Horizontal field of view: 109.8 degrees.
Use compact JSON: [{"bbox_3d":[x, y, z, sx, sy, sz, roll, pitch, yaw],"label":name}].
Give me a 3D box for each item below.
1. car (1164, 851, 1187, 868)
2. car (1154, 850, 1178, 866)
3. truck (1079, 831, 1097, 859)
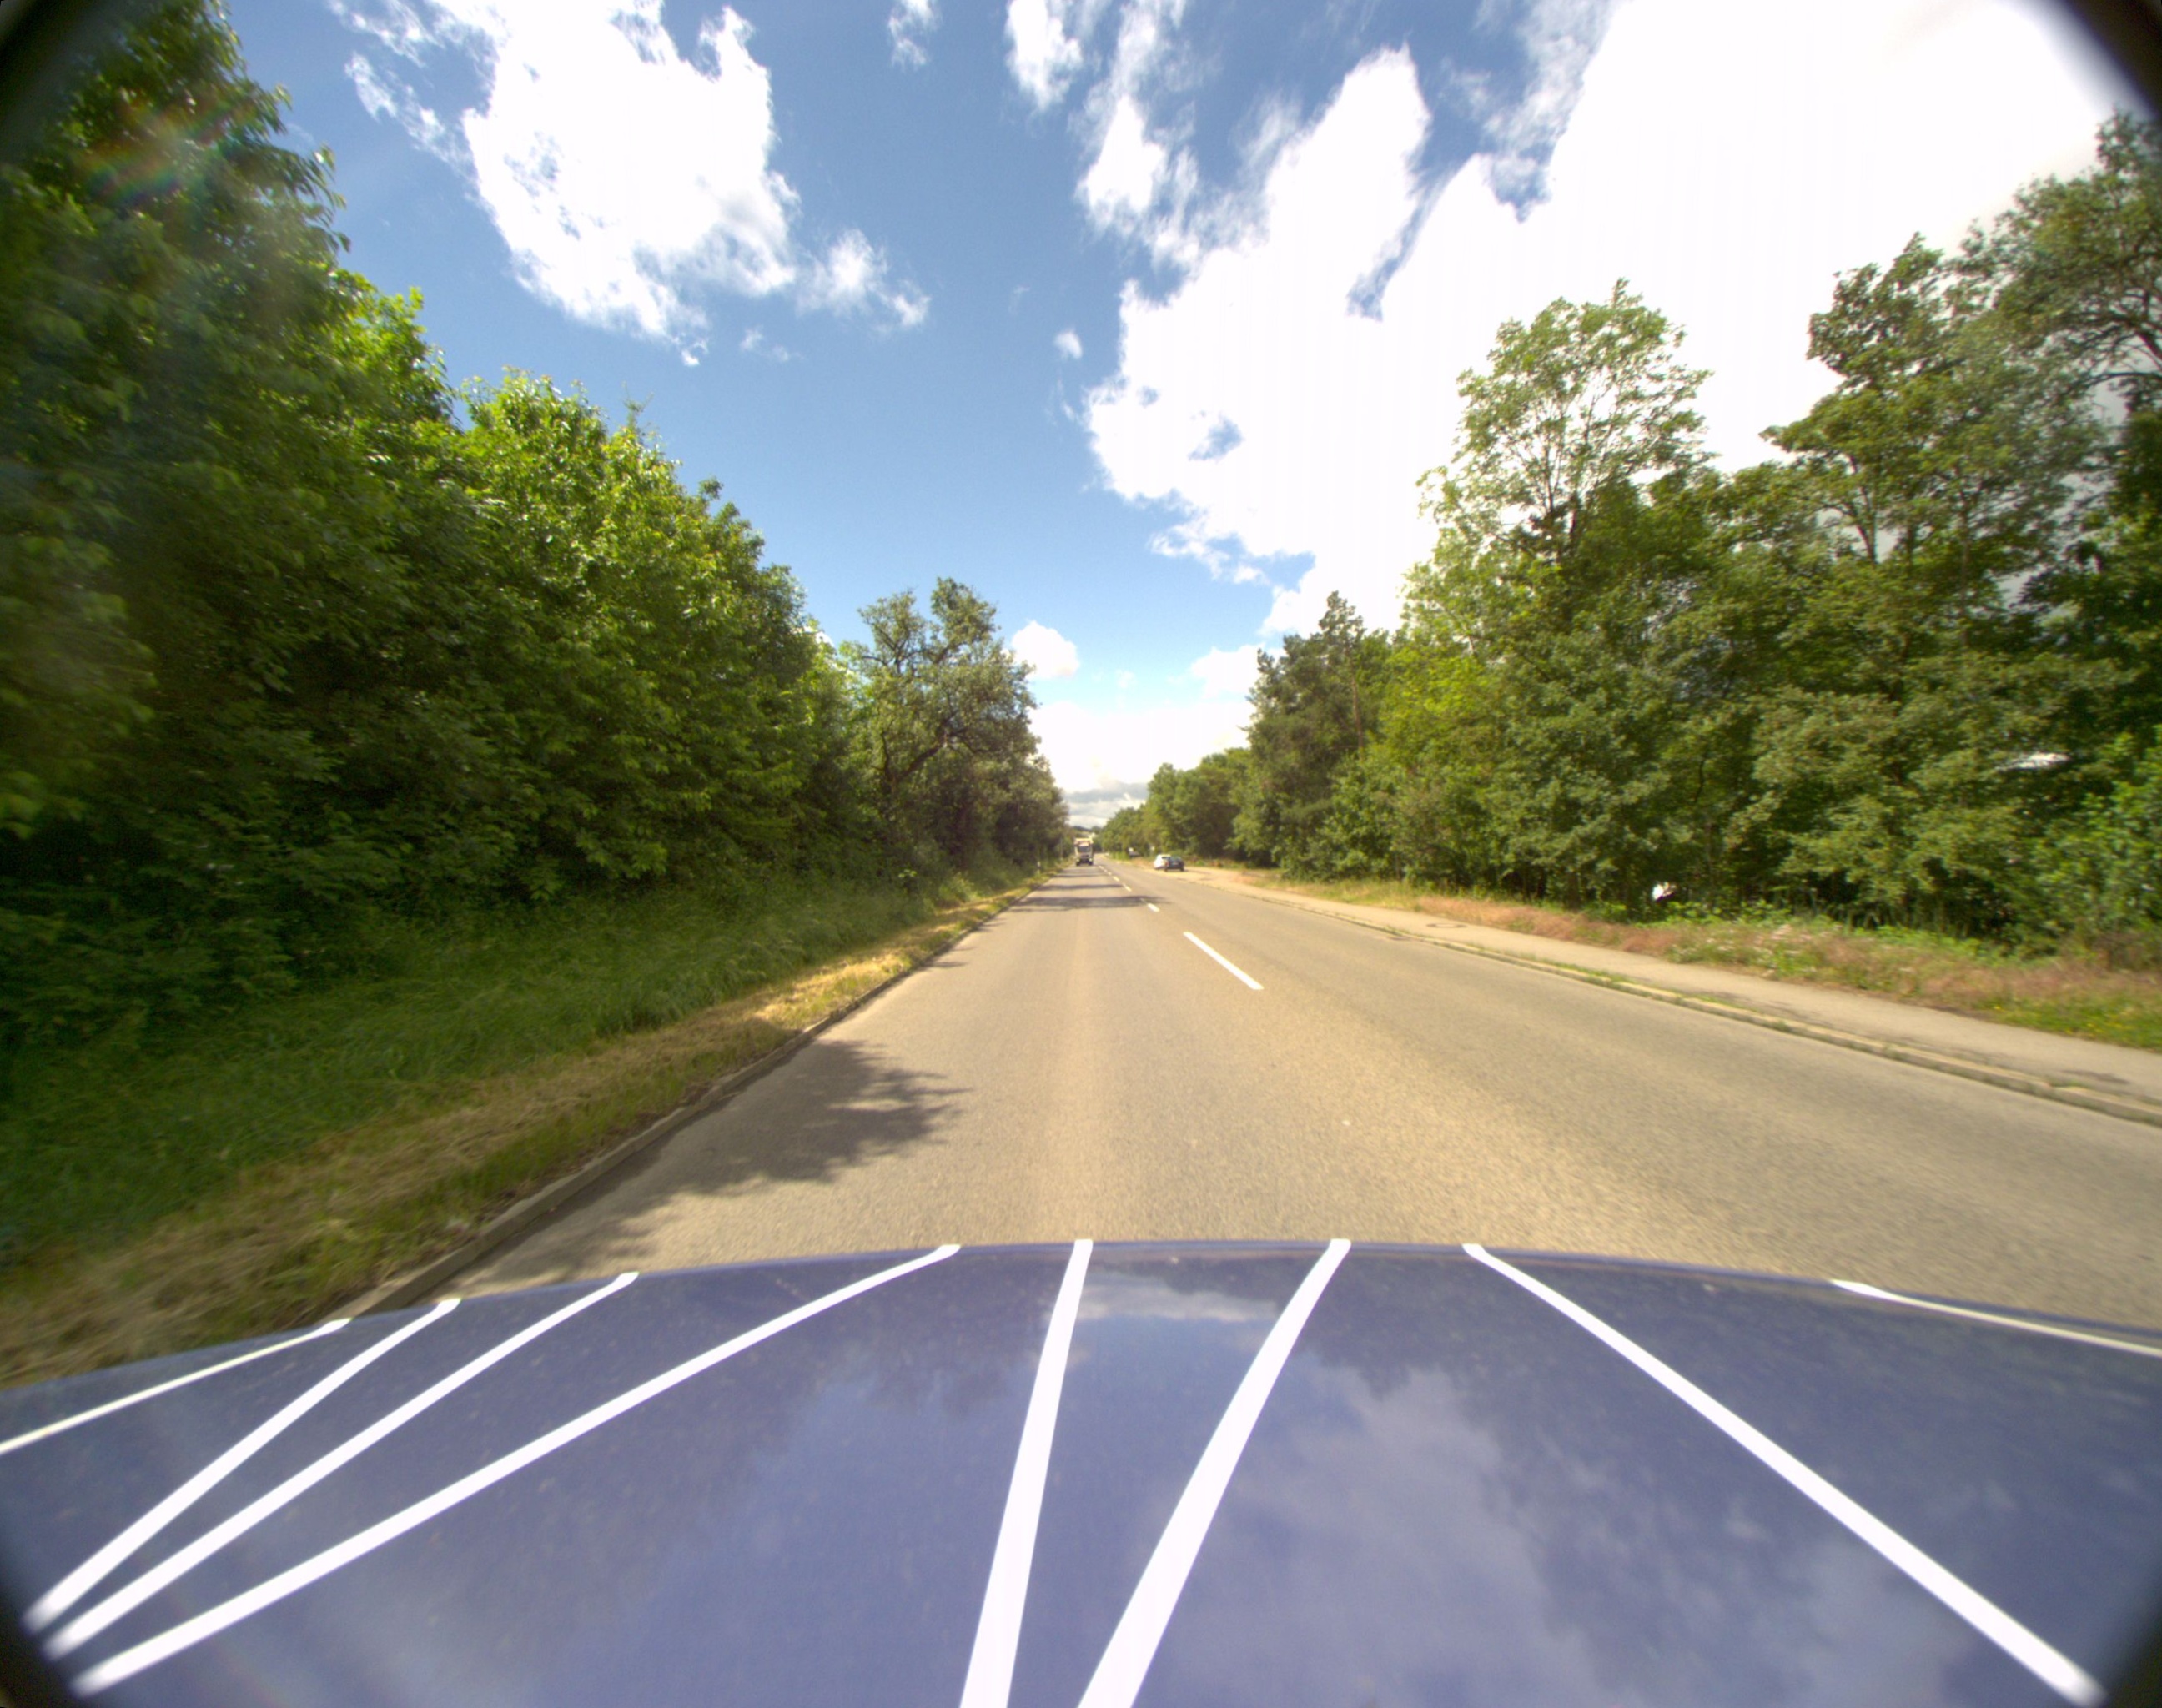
[{"bbox_3d":[8.490,0.474,68.393,1.772,1.400,4.266,-2,0,3],"label":"car"},{"bbox_3d":[8.427,0.358,75.756,1.772,1.461,4.245,-2,0,-1],"label":"car"},{"bbox_3d":[0.957,-1.221,108.722,2.306,3.790,8.182,-2,1,0],"label":"truck"}]
